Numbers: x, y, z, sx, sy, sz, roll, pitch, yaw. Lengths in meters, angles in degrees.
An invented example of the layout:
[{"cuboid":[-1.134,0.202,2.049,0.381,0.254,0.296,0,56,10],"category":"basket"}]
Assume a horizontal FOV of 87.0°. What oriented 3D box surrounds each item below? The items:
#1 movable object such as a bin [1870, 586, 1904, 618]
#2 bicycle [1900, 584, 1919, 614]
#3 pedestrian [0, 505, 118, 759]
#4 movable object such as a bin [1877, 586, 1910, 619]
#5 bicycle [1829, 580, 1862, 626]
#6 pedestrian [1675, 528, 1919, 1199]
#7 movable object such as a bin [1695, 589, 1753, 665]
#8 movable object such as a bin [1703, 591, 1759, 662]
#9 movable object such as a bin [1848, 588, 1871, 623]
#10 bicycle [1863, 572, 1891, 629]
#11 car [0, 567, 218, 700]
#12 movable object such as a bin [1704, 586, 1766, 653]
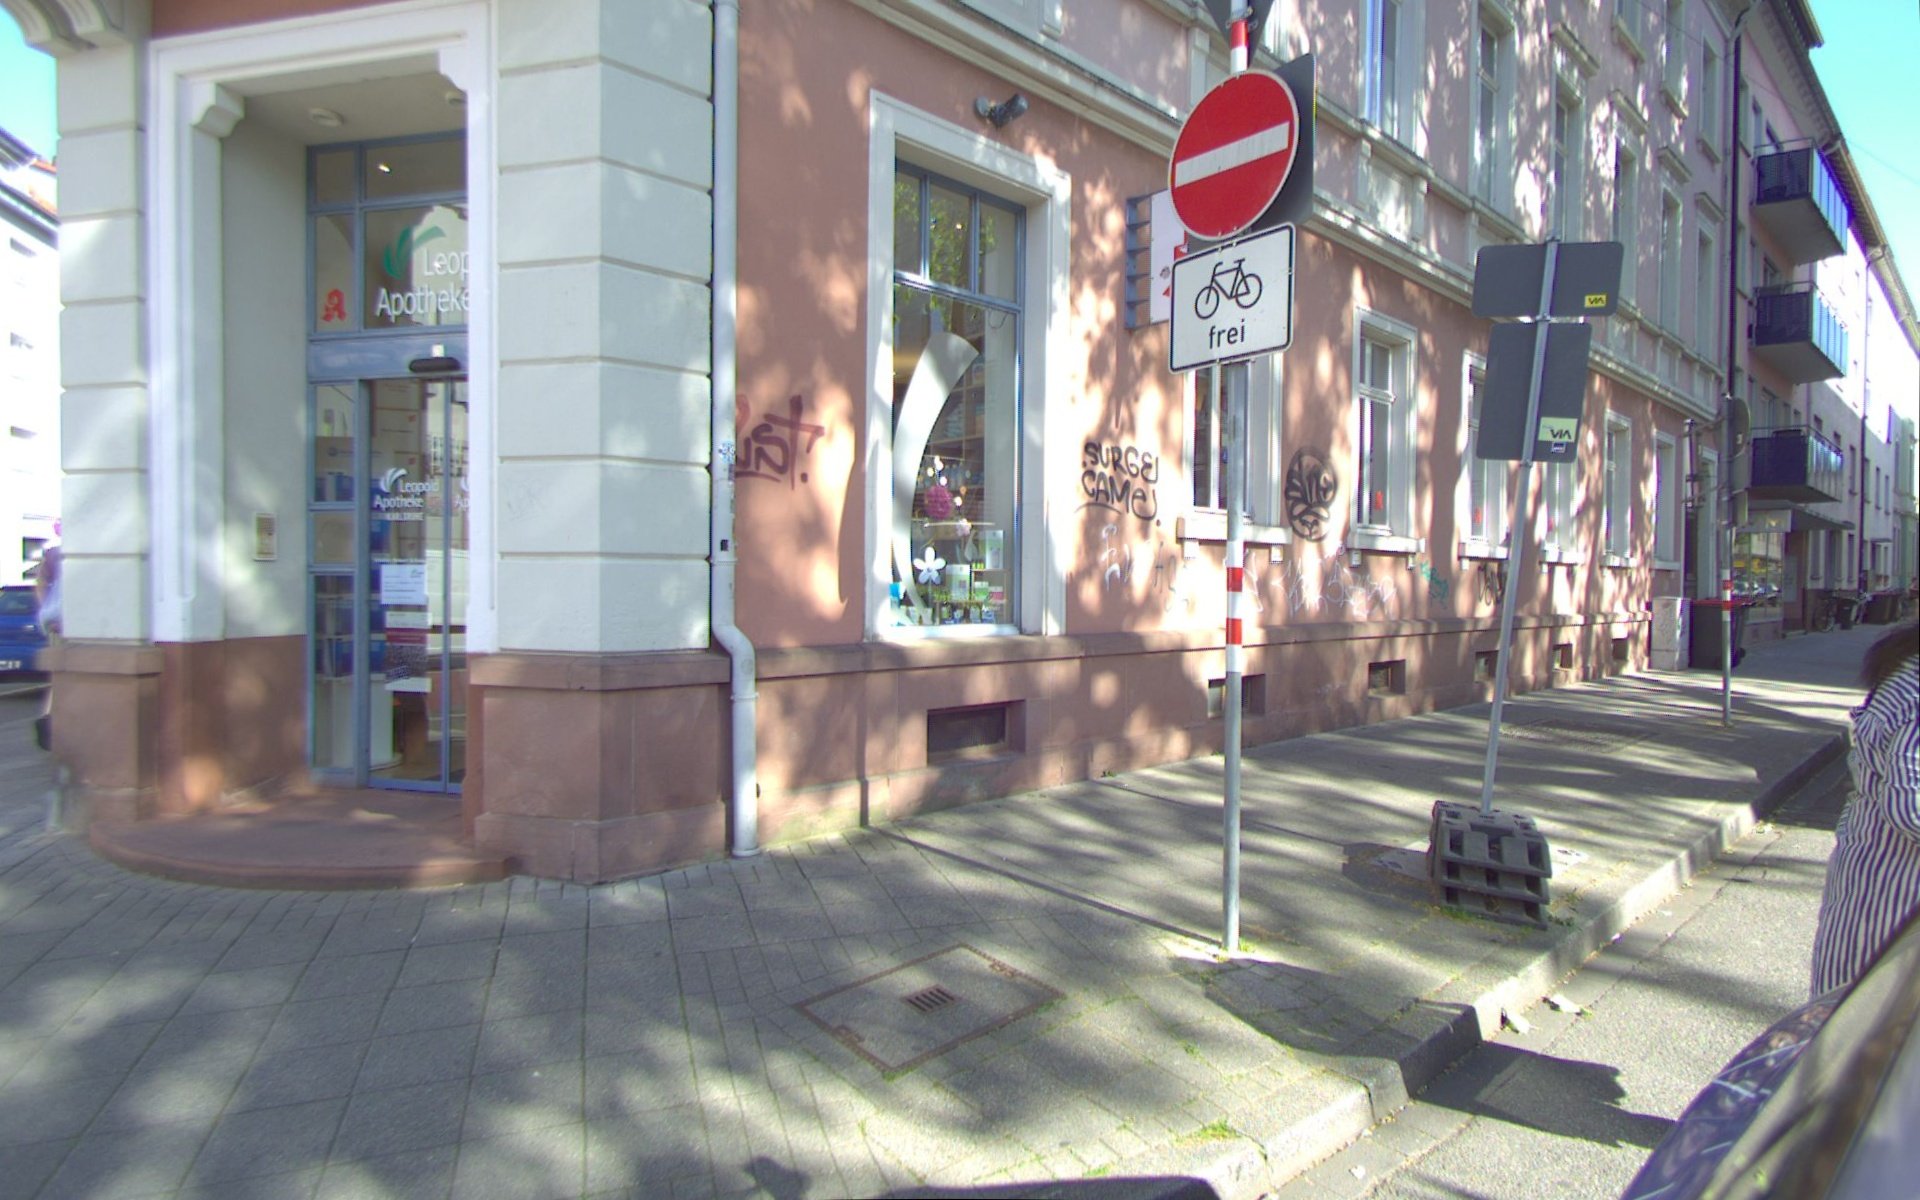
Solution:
[{"cuboid":[30.458,0.058,33.252,0.537,1.014,0.716,-1,4,-43],"category":"movable object such as a bin"},{"cuboid":[36.505,-0.039,38.815,1.899,1.109,0.489,-1,1,-42],"category":"bicycle"},{"cuboid":[-6.908,0.226,7.553,0.749,1.786,0.818,-3,0,43],"category":"pedestrian"},{"cuboid":[30.954,0.076,33.571,0.537,1.014,0.716,-1,4,-43],"category":"movable object such as a bin"},{"cuboid":[23.439,0.064,26.779,1.990,1.164,0.402,-1,1,-42],"category":"bicycle"},{"cuboid":[2.408,0.657,2.395,0.837,1.591,0.841,5,6,21],"category":"pedestrian"},{"cuboid":[11.865,0.404,15.718,0.643,1.097,0.570,-1,4,-43],"category":"movable object such as a bin"},{"cuboid":[12.283,0.409,16.123,0.602,1.071,0.570,-1,4,-43],"category":"movable object such as a bin"},{"cuboid":[25.426,0.161,28.609,0.297,0.951,0.415,0,4,-43],"category":"movable object such as a bin"},{"cuboid":[29.001,-0.004,32.002,2.070,1.757,0.402,-1,1,-42],"category":"bicycle"},{"cuboid":[-11.463,0.348,13.353,1.671,1.451,3.648,3,1,-19],"category":"car"},{"cuboid":[13.519,0.331,17.661,0.608,1.097,0.717,-1,4,-43],"category":"movable object such as a bin"}]
